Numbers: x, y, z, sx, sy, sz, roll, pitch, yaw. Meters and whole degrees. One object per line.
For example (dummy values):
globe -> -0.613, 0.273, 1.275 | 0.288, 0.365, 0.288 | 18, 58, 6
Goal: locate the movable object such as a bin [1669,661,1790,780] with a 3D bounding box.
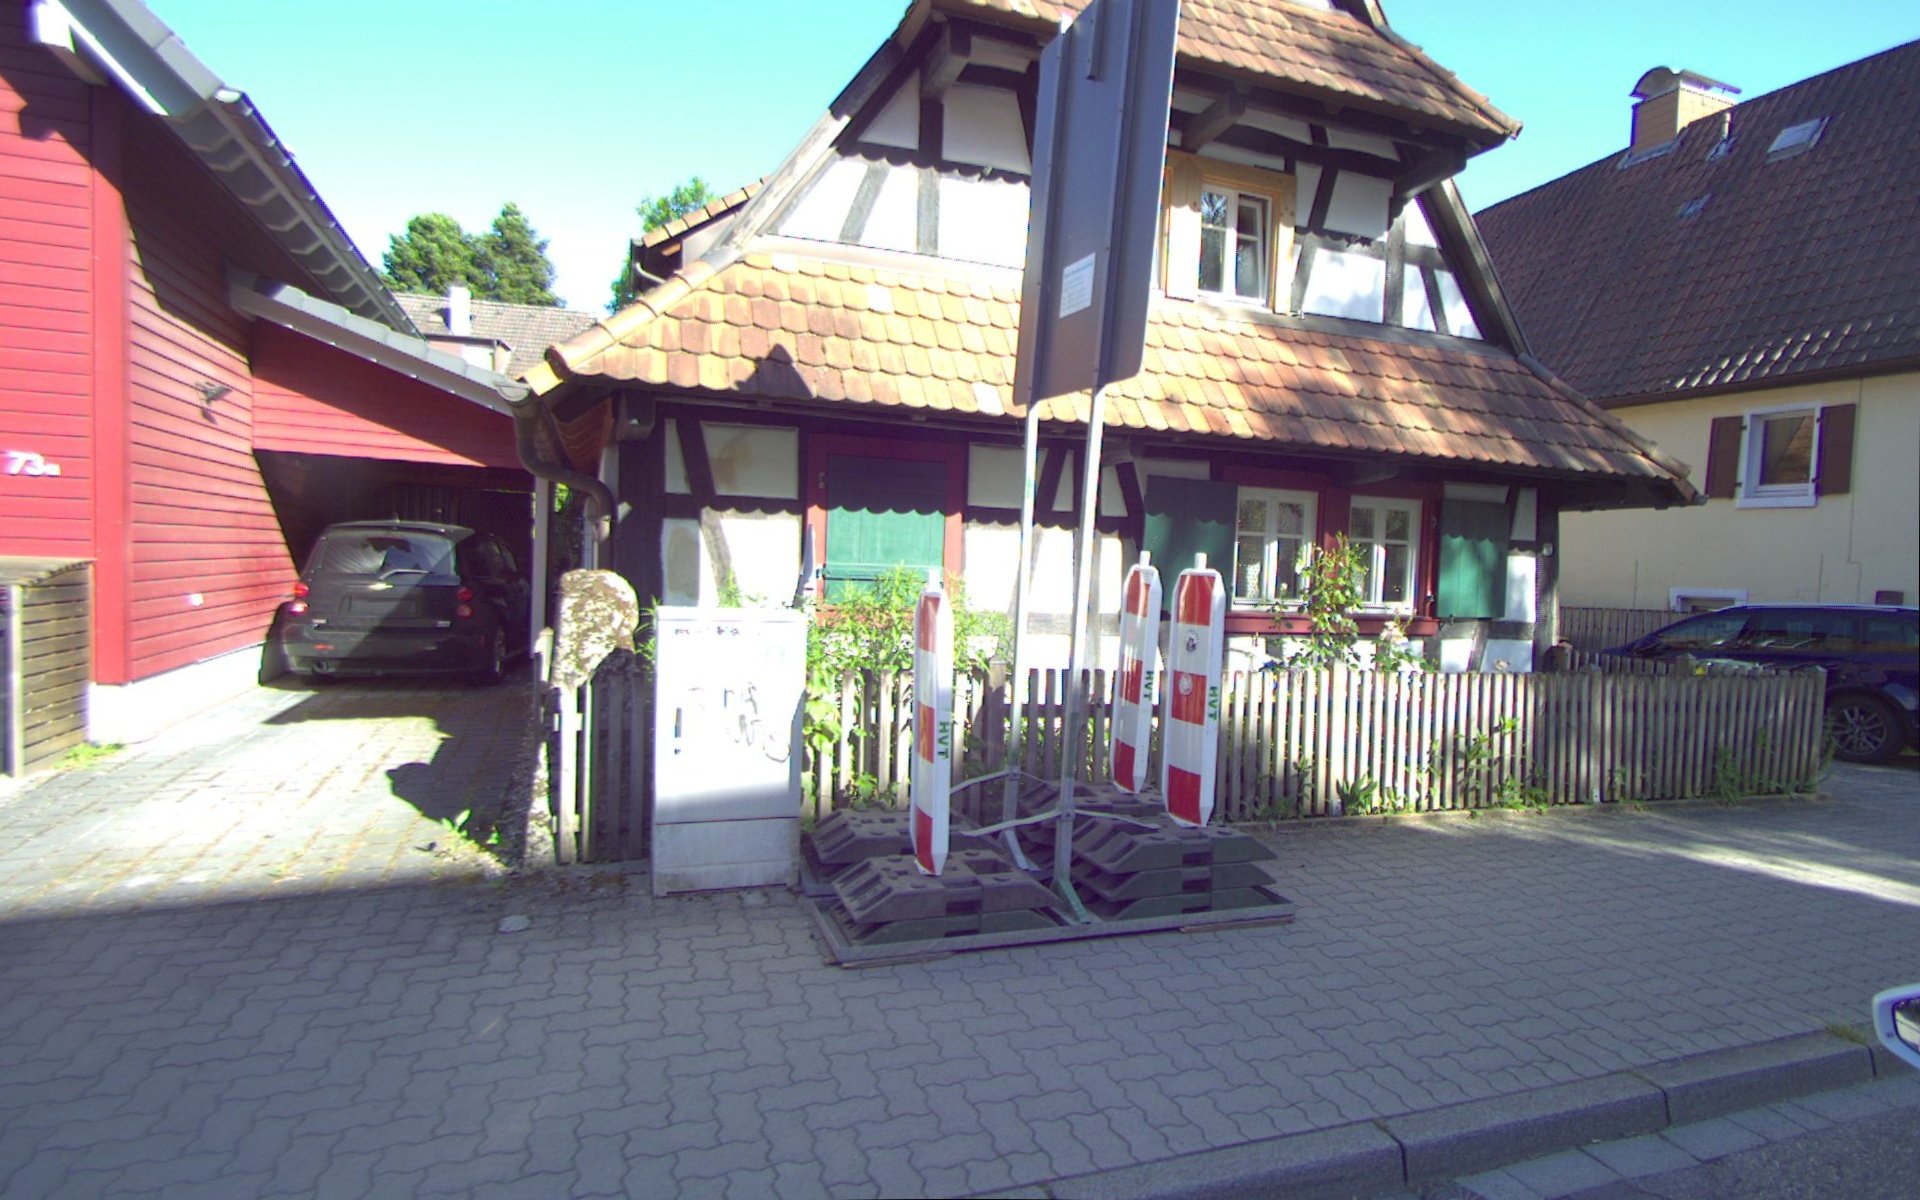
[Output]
movable object such as a bin -> 6.397, 0.984, 8.369 | 0.544, 0.910, 0.585 | 1, 0, 1

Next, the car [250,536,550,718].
car -> -5.553, 0.144, 10.541 | 1.786, 1.522, 3.987 | 1, 2, -15

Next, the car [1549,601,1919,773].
car -> 8.706, 0.782, 10.482 | 1.822, 1.481, 4.148 | 1, 0, -23
